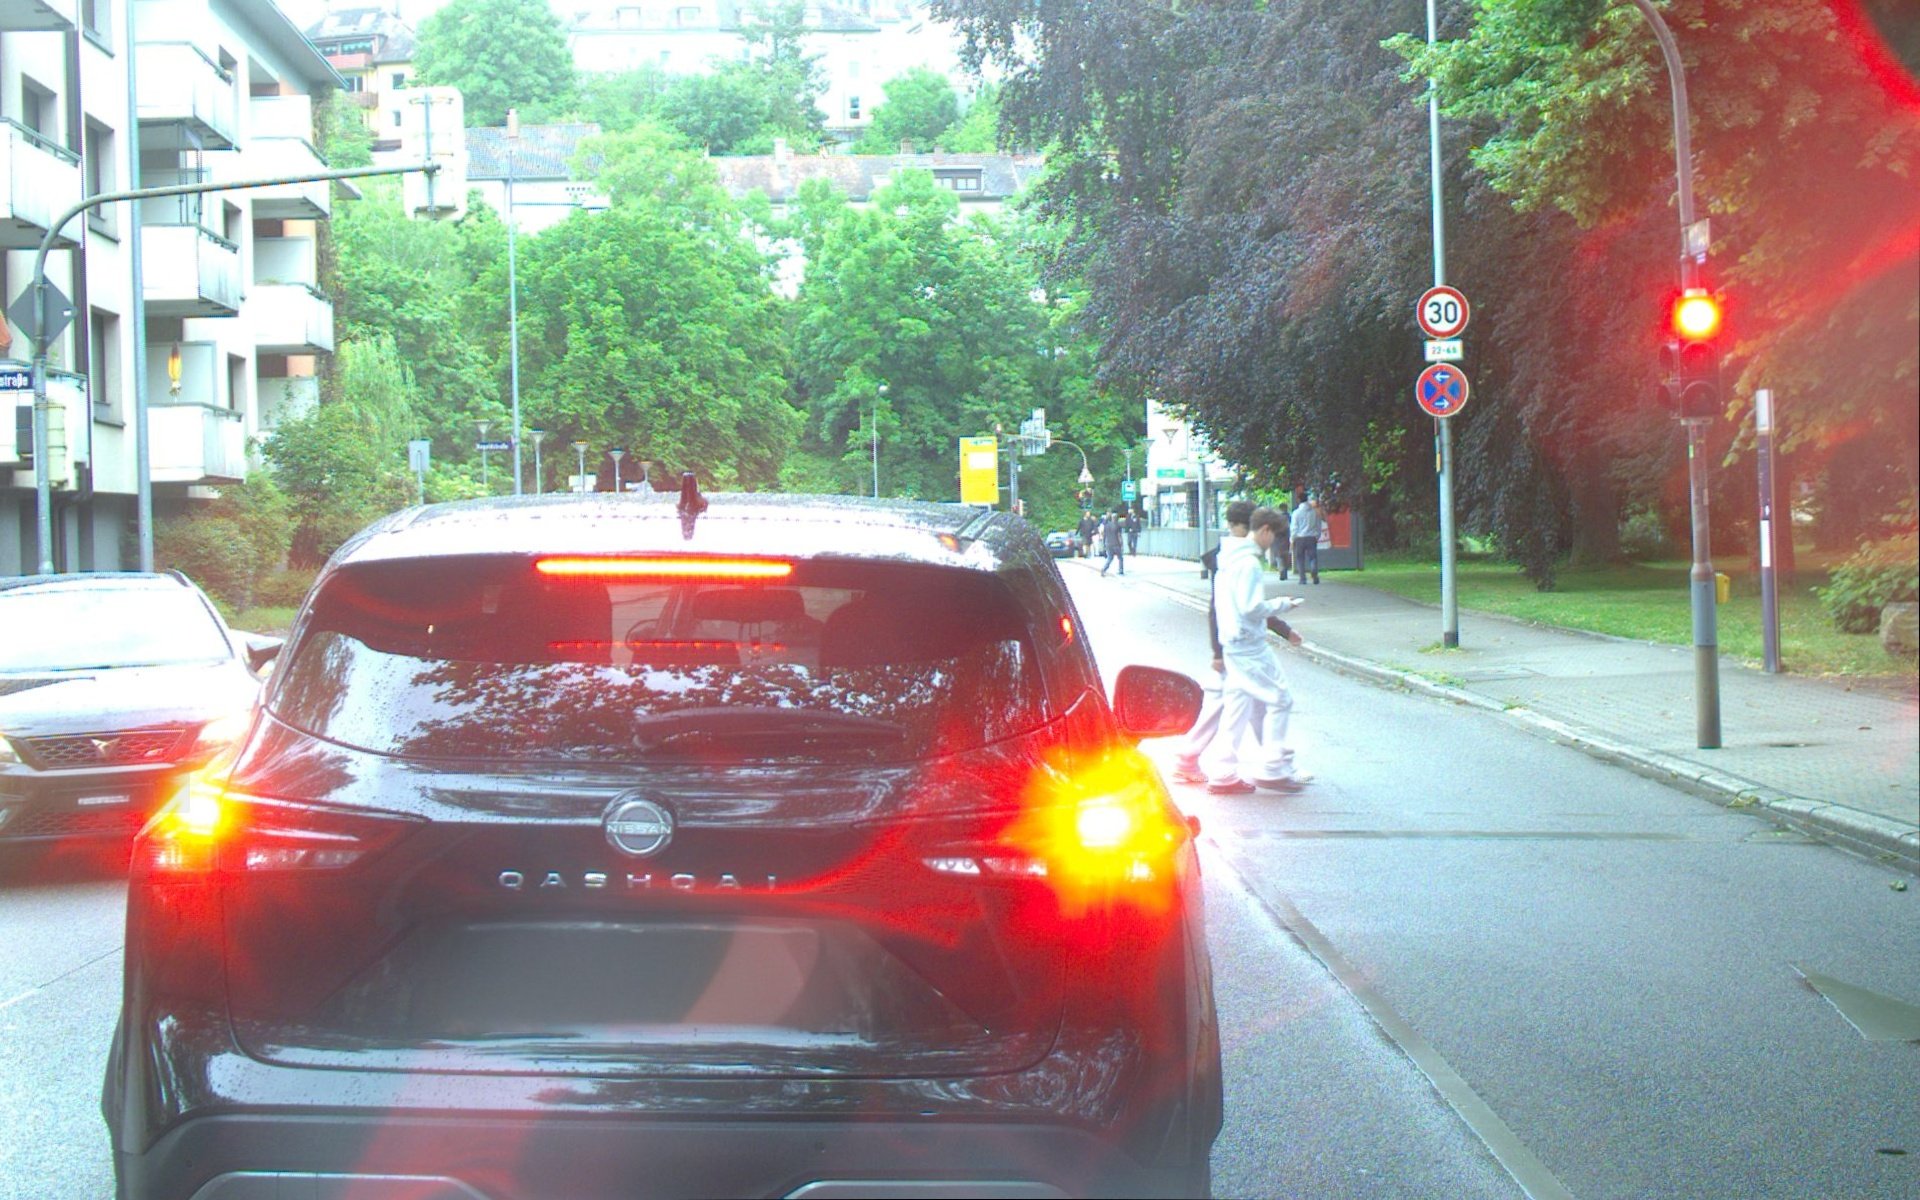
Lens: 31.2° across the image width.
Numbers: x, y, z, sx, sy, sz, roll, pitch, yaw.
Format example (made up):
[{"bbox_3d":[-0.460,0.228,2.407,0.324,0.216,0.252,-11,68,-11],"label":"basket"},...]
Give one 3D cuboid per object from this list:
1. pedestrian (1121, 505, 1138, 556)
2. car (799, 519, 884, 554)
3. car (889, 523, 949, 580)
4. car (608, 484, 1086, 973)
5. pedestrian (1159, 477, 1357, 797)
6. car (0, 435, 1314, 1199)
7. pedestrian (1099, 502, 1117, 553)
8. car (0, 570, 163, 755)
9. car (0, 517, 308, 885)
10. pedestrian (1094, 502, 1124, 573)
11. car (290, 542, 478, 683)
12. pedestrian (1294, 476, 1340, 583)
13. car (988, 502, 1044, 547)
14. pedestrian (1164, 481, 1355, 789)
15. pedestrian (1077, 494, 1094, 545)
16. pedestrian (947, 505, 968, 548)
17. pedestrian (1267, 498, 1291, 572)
[{"bbox_3d":[6.045,-2.479,122.553,0.508,1.796,0.619,-2,1,-2],"label":"pedestrian"},{"bbox_3d":[-5.799,-3.125,169.022,3.956,1.527,1.639,-3,2,-40],"label":"car"},{"bbox_3d":[-1.181,-1.410,98.642,1.634,1.527,3.968,-2,1,-1],"label":"car"},{"bbox_3d":[-0.435,0.435,14.487,1.698,1.739,3.641,-2,1,-1],"label":"car"},{"bbox_3d":[1.770,0.212,20.507,1.035,1.869,0.658,0,1,-11],"label":"pedestrian"},{"bbox_3d":[-0.463,0.558,6.997,1.913,1.674,4.000,0,1,0],"label":"car"},{"bbox_3d":[5.260,-2.576,122.455,0.508,1.796,0.659,-2,1,-3],"label":"pedestrian"},{"bbox_3d":[-8.866,0.557,27.461,4.634,1.399,1.832,-3,1,-19],"label":"car"},{"bbox_3d":[-4.361,0.440,17.692,1.845,1.620,4.139,-2,1,-10],"label":"car"},{"bbox_3d":[3.839,-1.615,88.521,0.508,1.796,0.620,-3,1,-22],"label":"pedestrian"},{"bbox_3d":[-6.800,0.107,40.912,1.795,1.528,3.868,-2,1,-4],"label":"car"},{"bbox_3d":[6.828,-1.349,65.852,0.725,2.007,0.851,-2,1,0],"label":"pedestrian"},{"bbox_3d":[2.263,-3.001,138.018,1.994,1.729,3.999,1,1,4],"label":"car"},{"bbox_3d":[1.846,0.206,21.240,1.035,1.869,0.658,0,1,-11],"label":"pedestrian"},{"bbox_3d":[4.505,-2.879,123.358,0.508,1.796,0.619,-2,1,-1],"label":"pedestrian"},{"bbox_3d":[-0.086,-2.875,135.122,0.509,1.667,0.658,-2,1,27],"label":"pedestrian"},{"bbox_3d":[6.535,-1.339,70.391,0.390,1.497,0.559,-2,1,0],"label":"pedestrian"}]
